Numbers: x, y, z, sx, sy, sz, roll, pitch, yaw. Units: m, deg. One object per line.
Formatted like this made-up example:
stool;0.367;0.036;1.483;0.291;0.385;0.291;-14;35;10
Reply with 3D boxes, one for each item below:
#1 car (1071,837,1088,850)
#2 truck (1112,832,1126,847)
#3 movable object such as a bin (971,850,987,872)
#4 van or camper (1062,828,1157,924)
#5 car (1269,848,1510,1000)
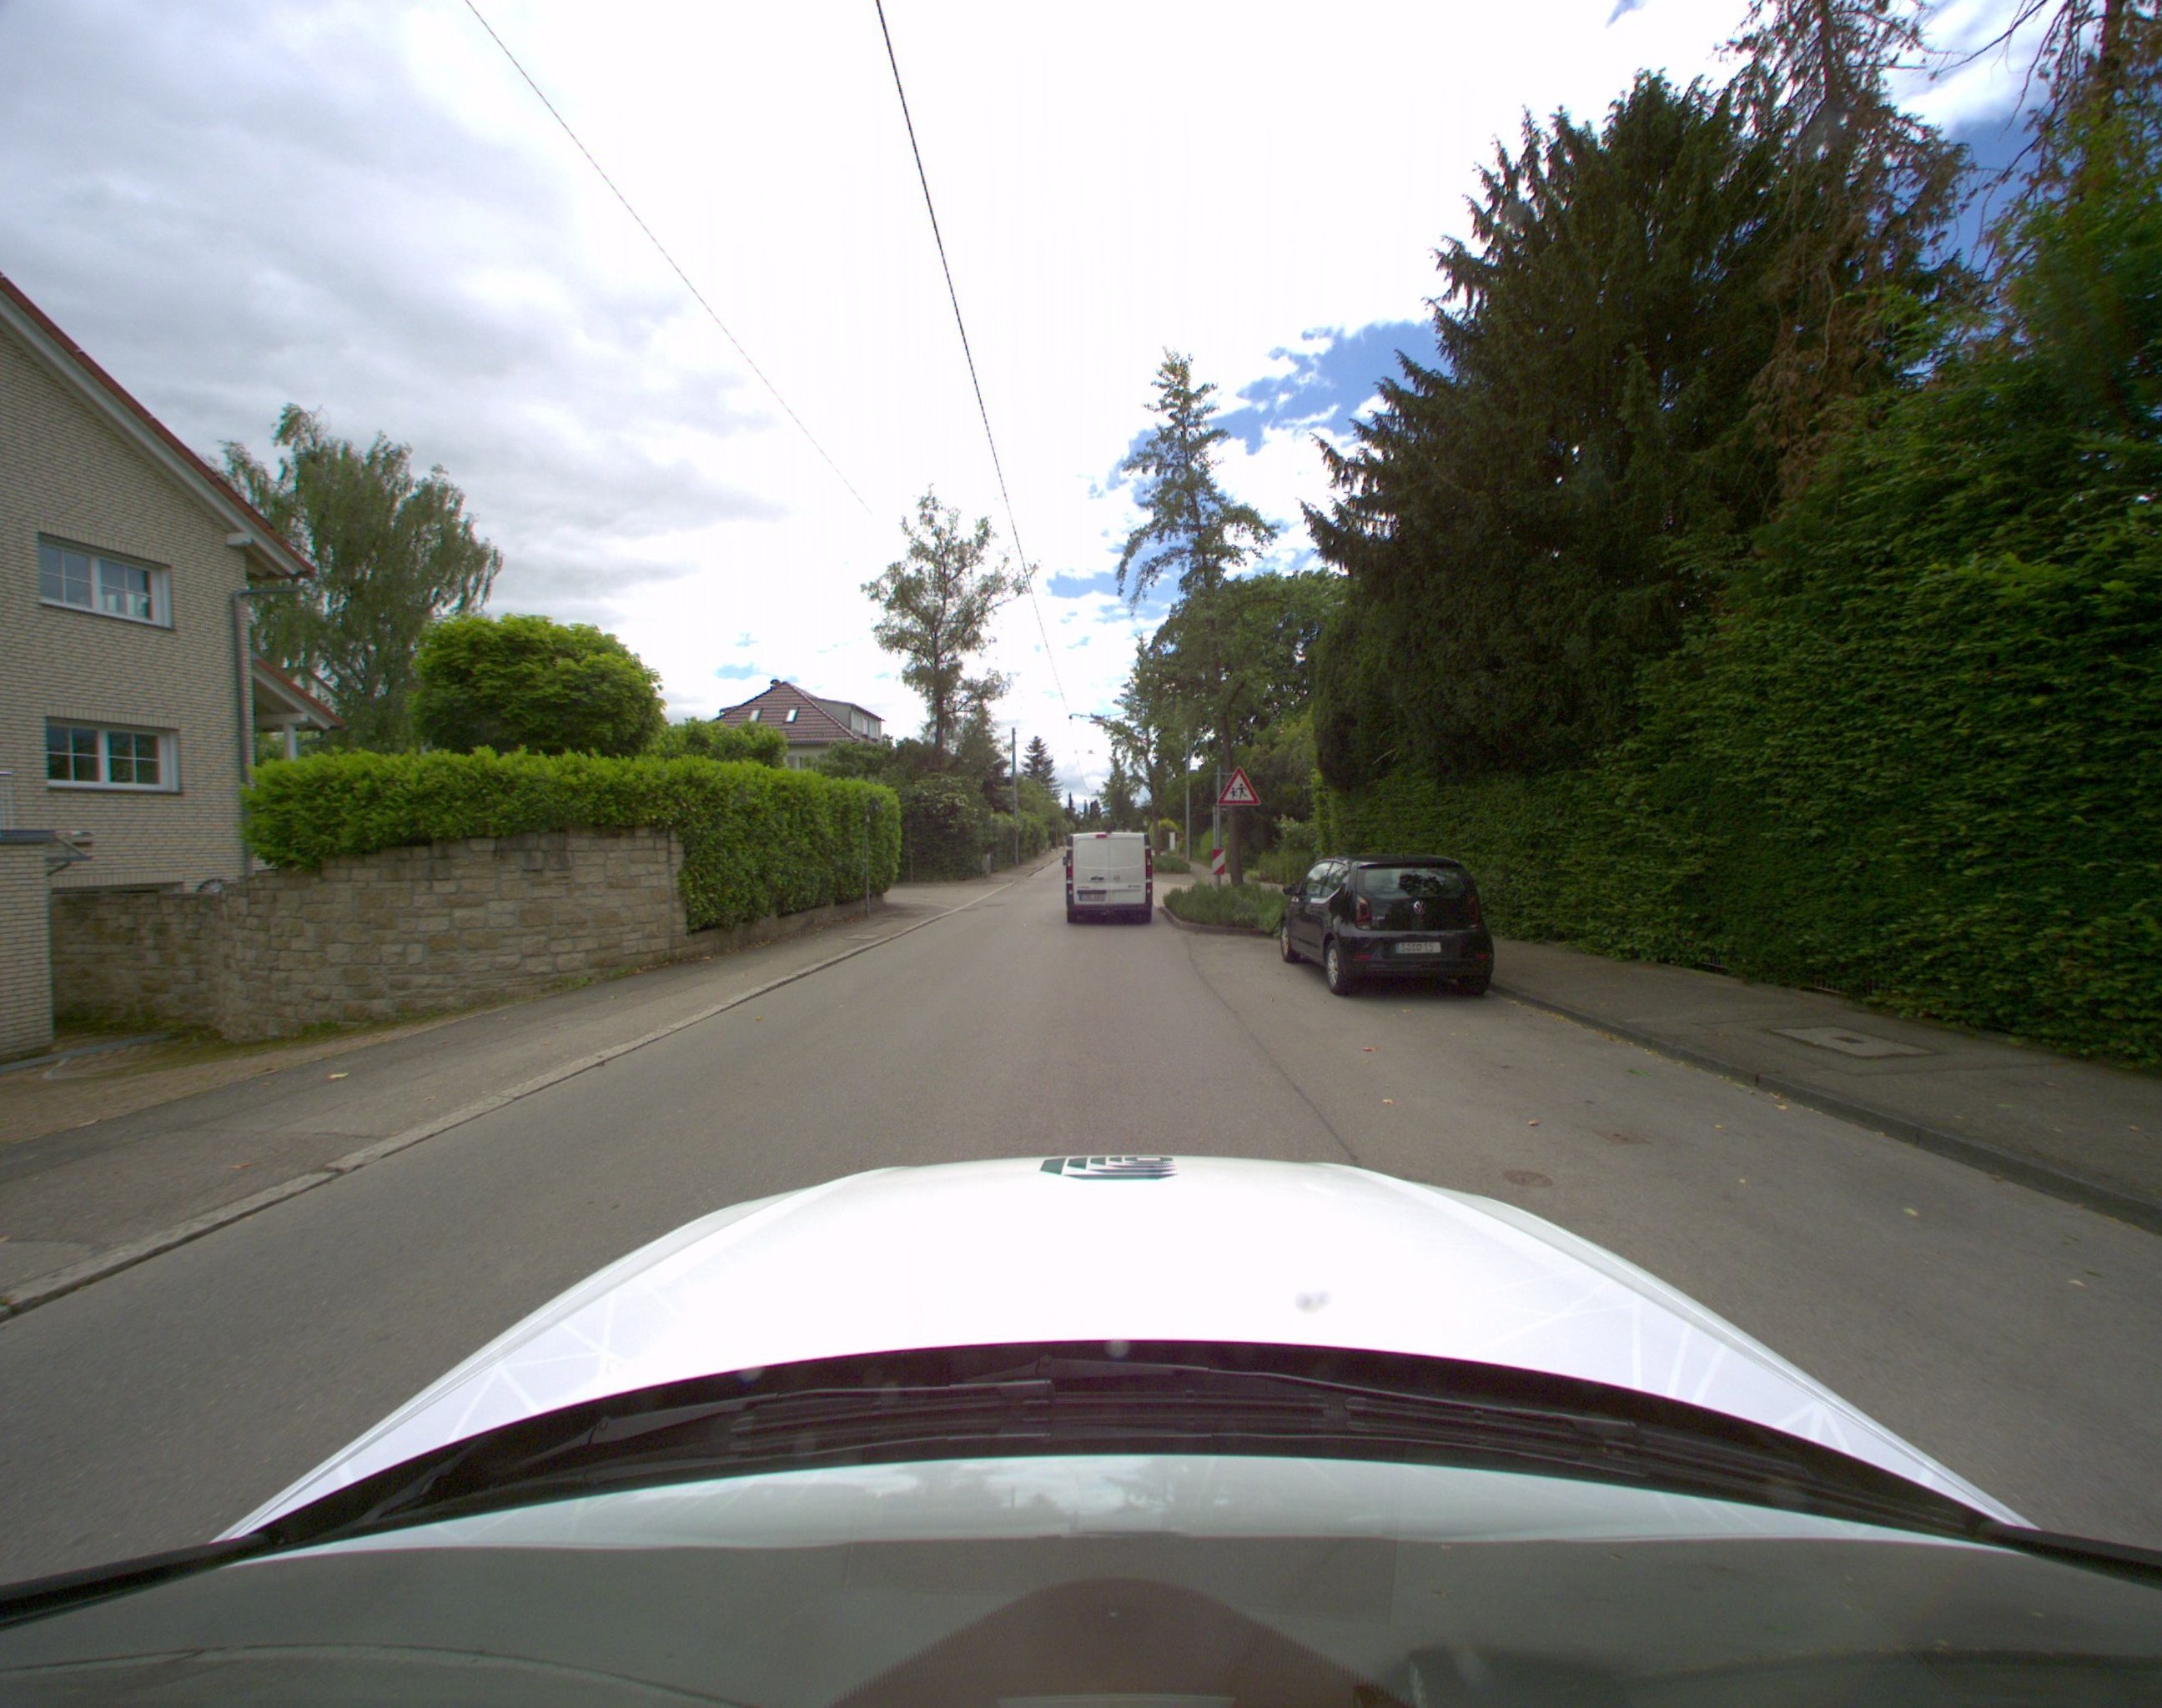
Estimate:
car;-0.171;-1.299;97.249;1.798;1.431;4.304;-4;1;3
truck;6.492;-2.549;140.255;2.179;2.471;7.433;0;1;1
movable object such as a bin;-5.339;0.369;42.688;0.726;1.116;0.585;2;1;-2
van or camper;0.622;0.447;19.138;1.932;1.954;4.766;0;0;1
car;3.497;0.687;9.968;1.617;1.473;3.741;-1;1;1
